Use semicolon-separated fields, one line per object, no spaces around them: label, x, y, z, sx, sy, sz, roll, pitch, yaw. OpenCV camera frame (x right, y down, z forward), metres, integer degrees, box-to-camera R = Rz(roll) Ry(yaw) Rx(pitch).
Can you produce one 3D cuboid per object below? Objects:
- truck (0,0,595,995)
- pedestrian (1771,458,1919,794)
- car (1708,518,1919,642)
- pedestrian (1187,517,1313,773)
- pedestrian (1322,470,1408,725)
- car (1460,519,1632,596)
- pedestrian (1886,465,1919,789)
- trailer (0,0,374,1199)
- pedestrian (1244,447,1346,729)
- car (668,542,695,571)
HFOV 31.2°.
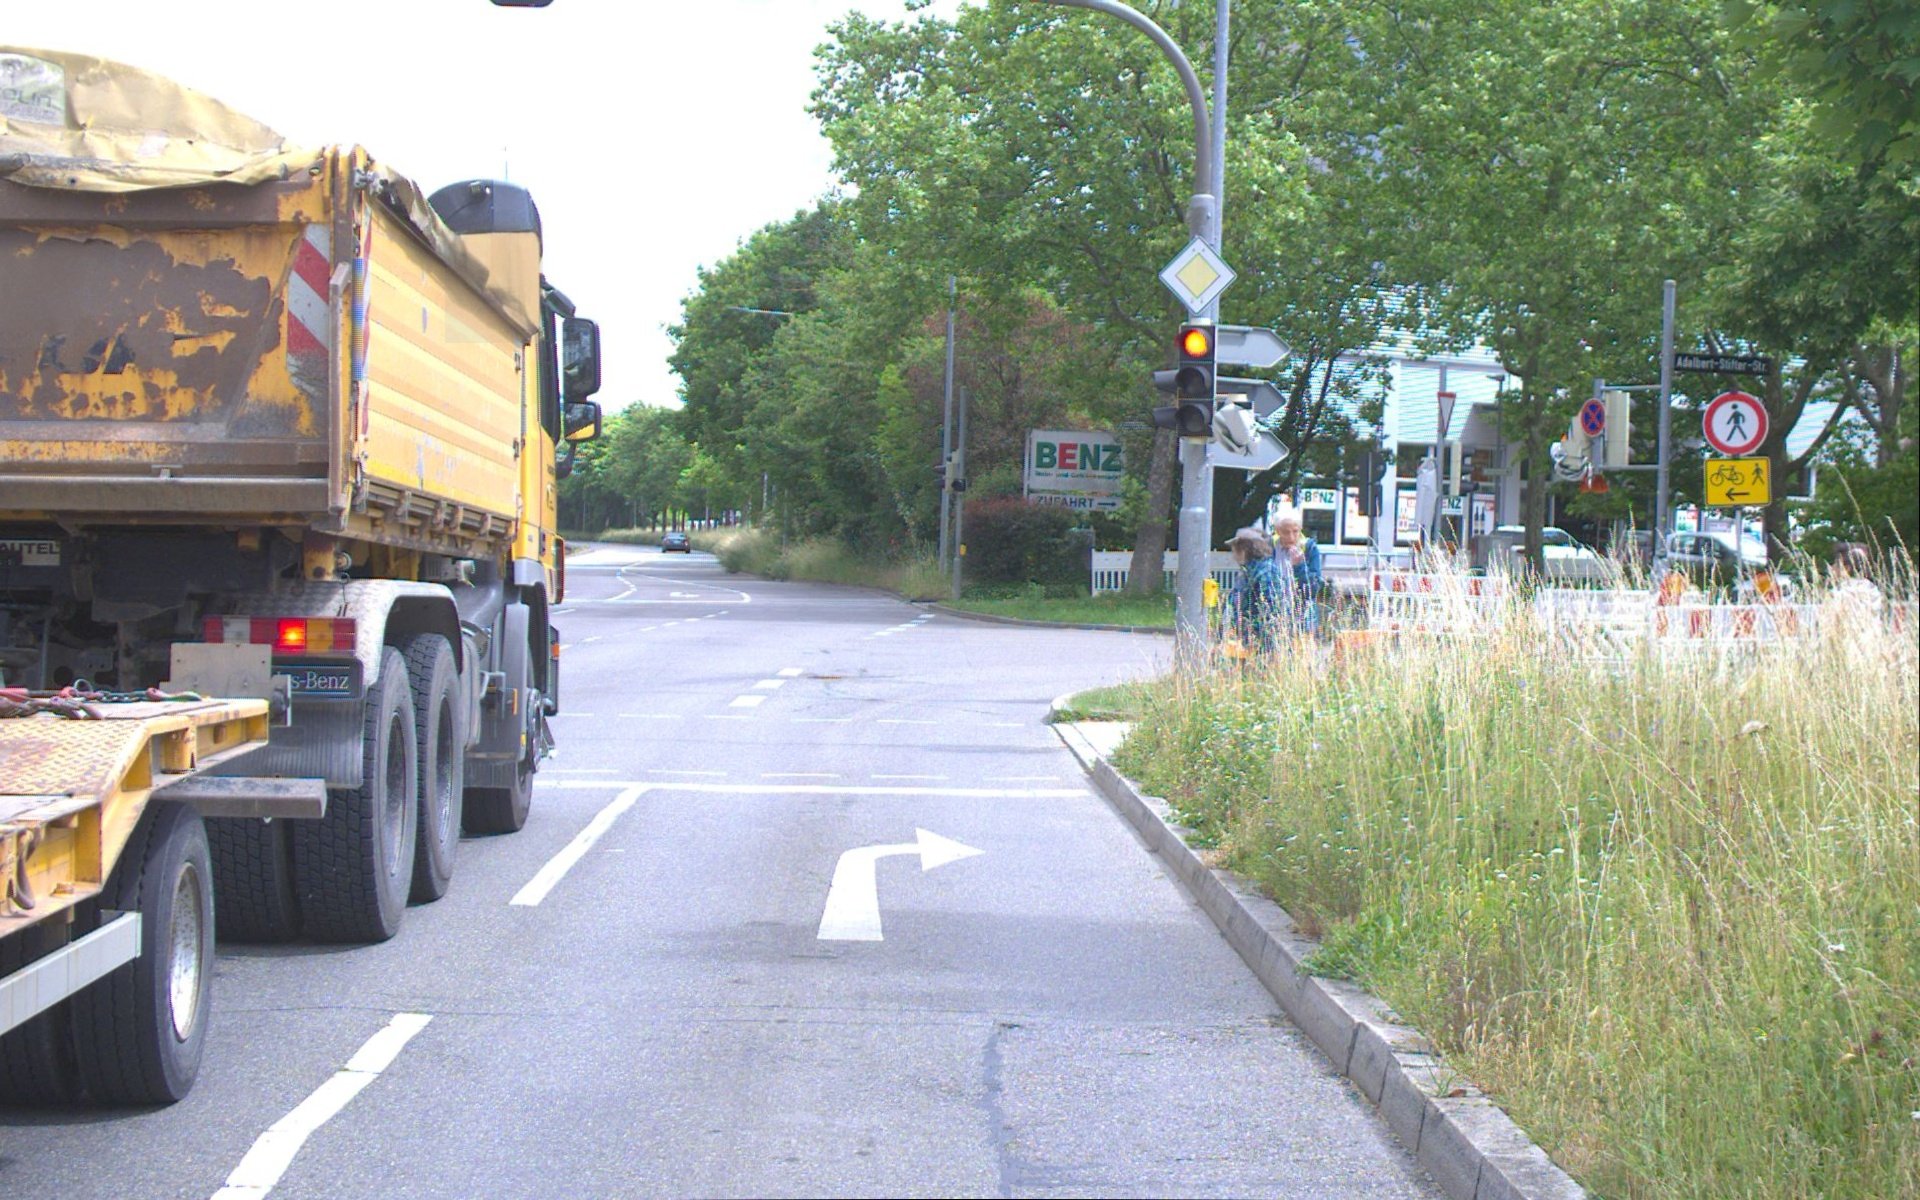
truck;-3.365;-0.528;15.012;2.753;3.302;8.352;2;1;-1
pedestrian;5.439;0.155;21.045;0.671;2.007;0.635;2;0;-10
car;12.636;-0.268;47.708;3.986;1.601;2.000;2;1;-1
pedestrian;1.912;0.288;22.642;0.628;1.647;0.562;2;0;25
pedestrian;3.238;-0.021;27.506;0.499;2.007;0.492;2;0;-10
car;14.562;-1.050;85.319;3.988;1.777;2.000;1;1;-38
pedestrian;6.197;0.168;21.522;0.561;2.007;0.492;2;0;-10
trailer;-3.130;-0.564;5.182;2.729;3.546;11.255;2;1;-1
pedestrian;2.418;-0.088;24.869;0.561;2.007;0.492;2;0;-10
car;-18.976;-2.968;233.854;1.689;1.919;4.001;2;1;-6
